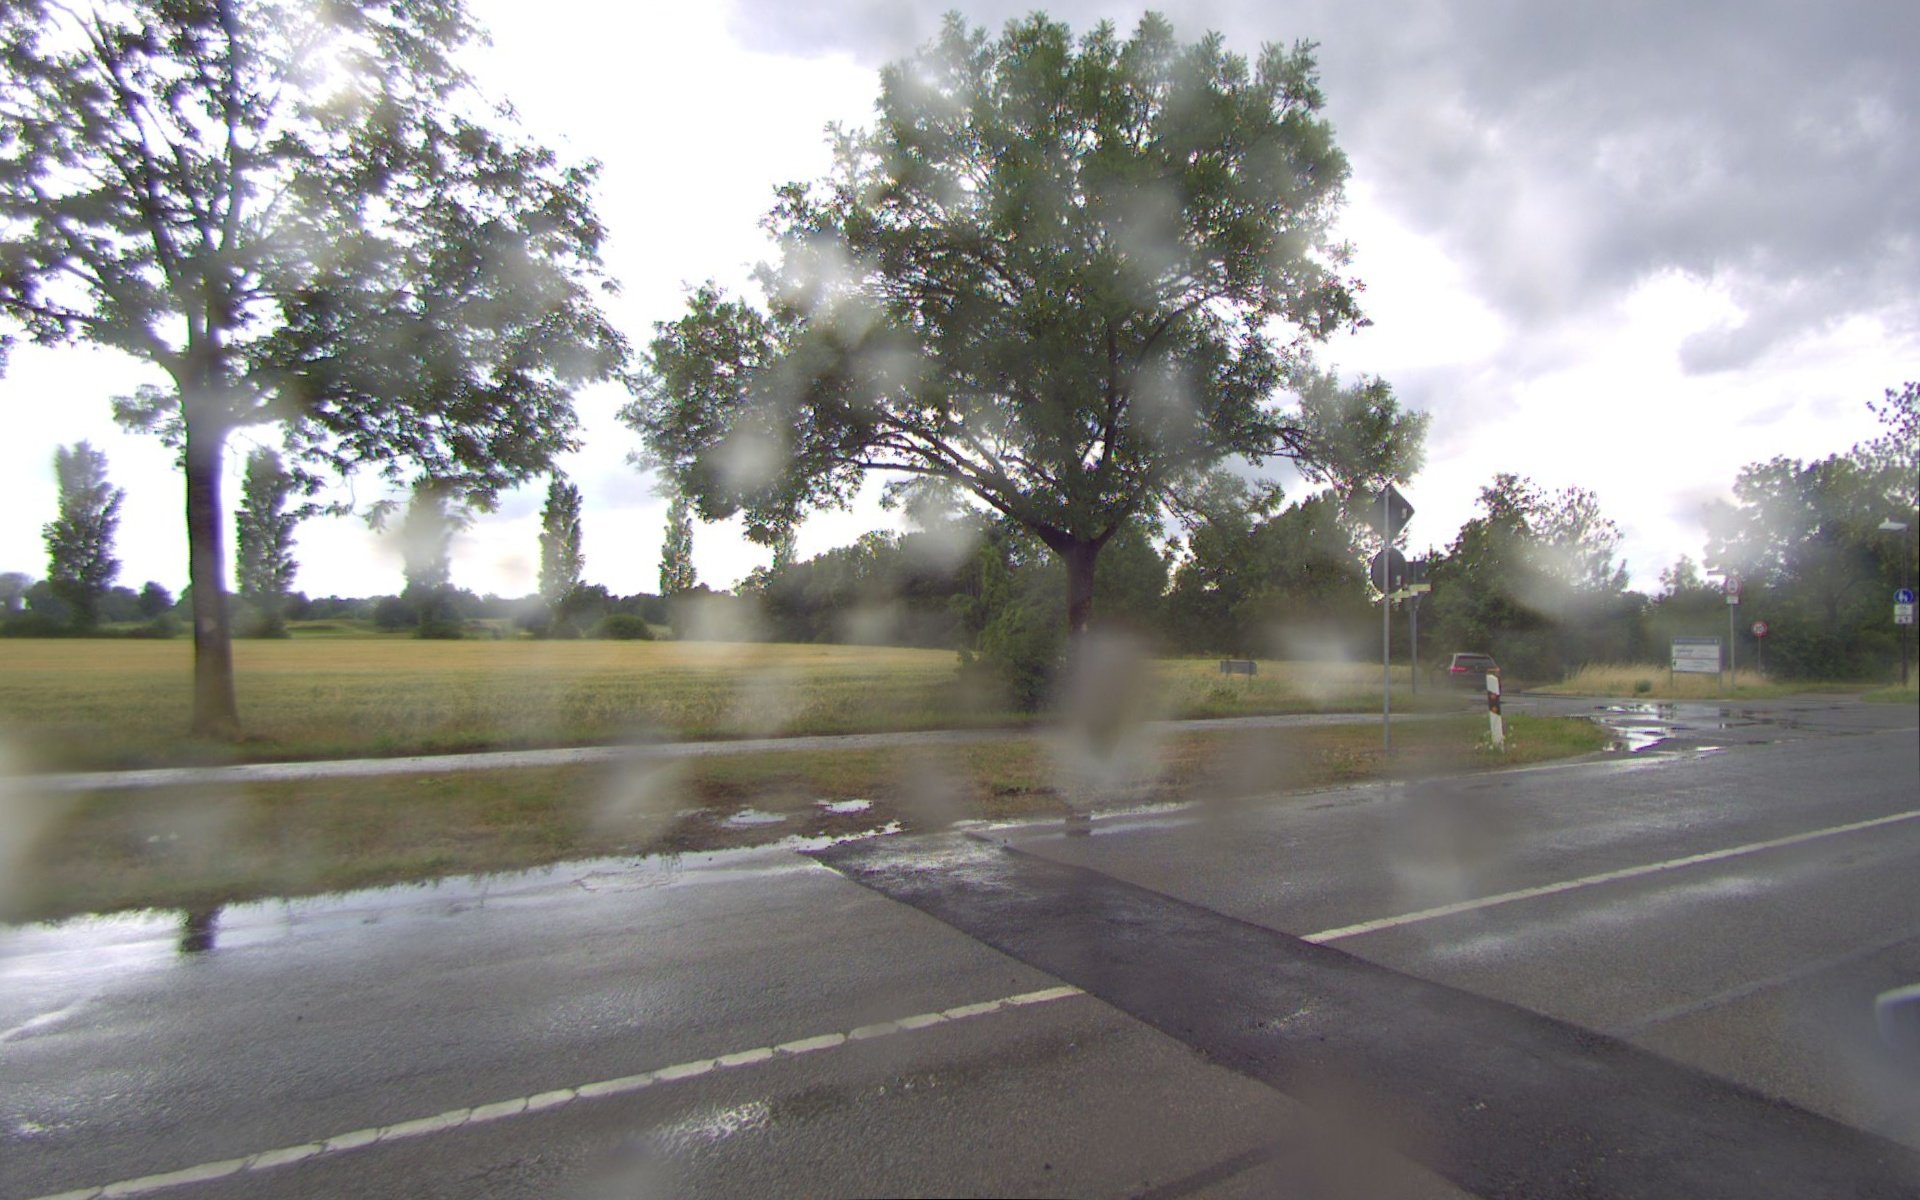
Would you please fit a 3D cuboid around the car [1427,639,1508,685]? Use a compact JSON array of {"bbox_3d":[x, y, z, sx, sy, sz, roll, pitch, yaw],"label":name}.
[{"bbox_3d":[19.049,2.295,37.896,2.264,1.567,4.632,0,-2,21],"label":"car"}]
